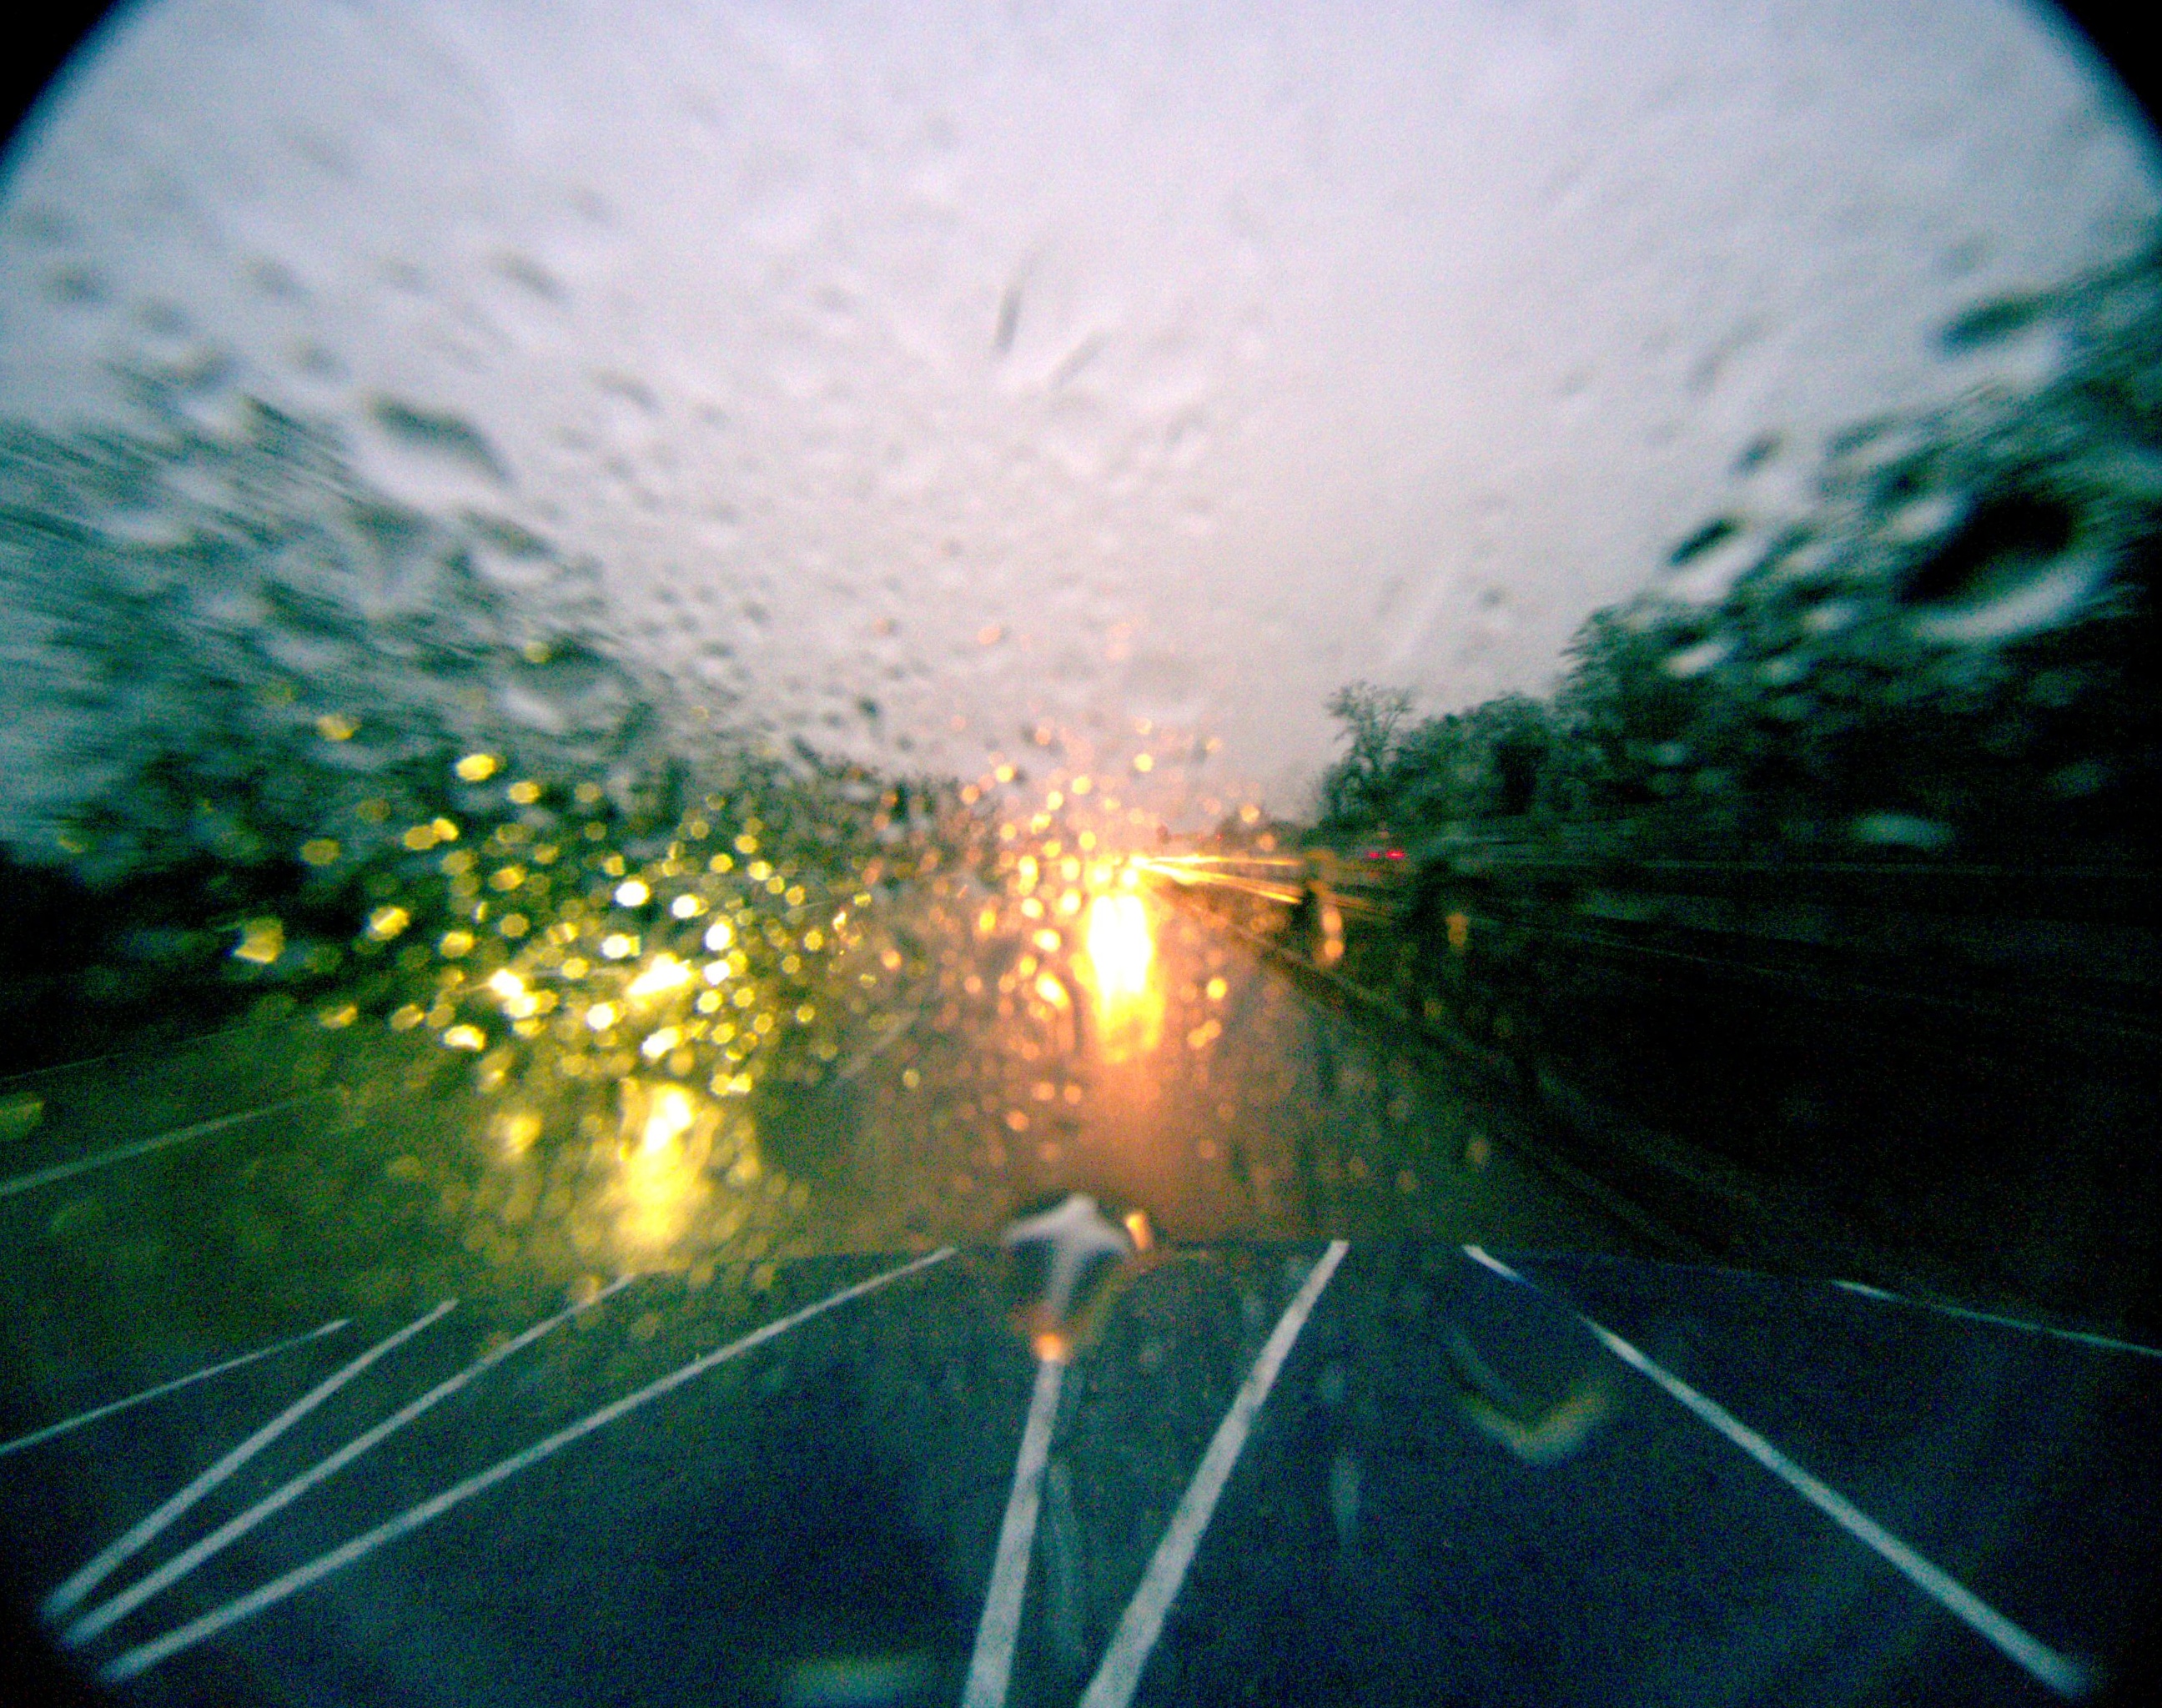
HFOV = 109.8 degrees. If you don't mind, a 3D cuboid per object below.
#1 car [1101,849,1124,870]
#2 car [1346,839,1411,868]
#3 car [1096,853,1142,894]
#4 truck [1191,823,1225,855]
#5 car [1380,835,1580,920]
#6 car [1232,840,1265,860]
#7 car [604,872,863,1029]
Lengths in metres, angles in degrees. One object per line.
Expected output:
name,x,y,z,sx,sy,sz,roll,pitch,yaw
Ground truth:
car,2.560,0.423,62.462,1.758,1.521,4.000,-2,1,2
car,17.293,-0.047,44.417,1.998,1.505,4.796,-2,1,2
car,1.537,0.759,31.897,1.758,1.521,4.000,-2,1,2
truck,16.399,-1.945,98.626,3.085,3.835,9.369,-2,1,3
car,8.228,0.403,16.255,1.869,1.473,4.671,-2,1,1
car,14.232,-0.363,64.917,1.998,1.639,4.000,-2,1,2
car,-4.131,1.025,9.824,1.595,1.445,4.175,-2,0,-4
